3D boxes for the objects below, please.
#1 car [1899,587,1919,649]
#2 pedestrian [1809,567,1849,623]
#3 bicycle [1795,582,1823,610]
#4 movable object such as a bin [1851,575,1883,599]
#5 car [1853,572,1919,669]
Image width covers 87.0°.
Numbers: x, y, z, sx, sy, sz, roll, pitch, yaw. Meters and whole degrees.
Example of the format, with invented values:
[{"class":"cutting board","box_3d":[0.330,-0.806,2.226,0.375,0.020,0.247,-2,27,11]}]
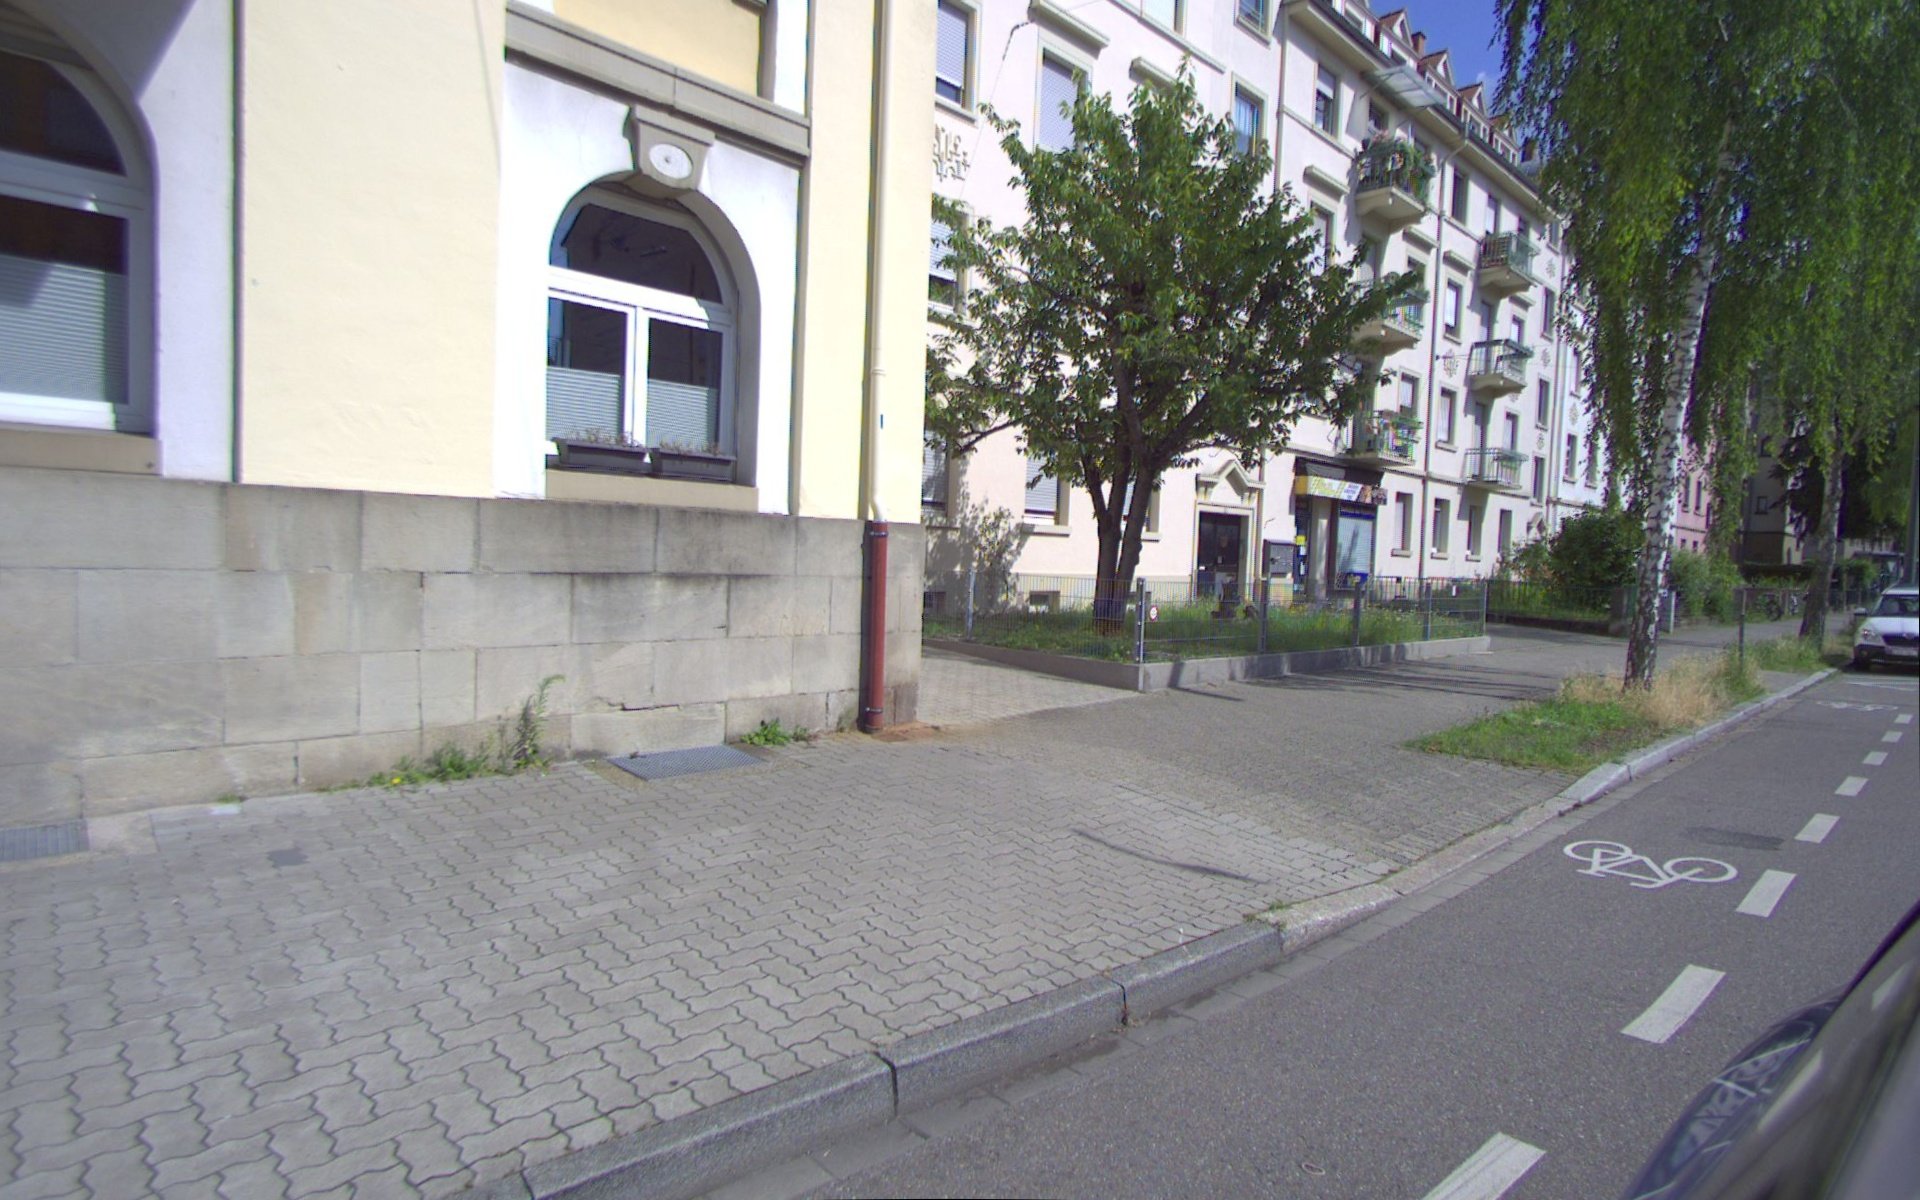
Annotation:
[{"class":"car","box_3d":[24.133,0.413,24.631,3.733,1.434,1.674,-1,1,-44]},{"class":"pedestrian","box_3d":[27.810,-0.164,32.398,0.678,1.703,0.732,0,5,-40]},{"class":"bicycle","box_3d":[33.507,-0.162,39.934,2.145,1.090,0.472,0,4,-42]},{"class":"movable object such as a bin","box_3d":[60.347,-0.862,67.348,1.966,1.510,1.304,0,4,-42]},{"class":"car","box_3d":[17.849,0.335,18.512,3.930,1.650,1.724,-1,1,-41]}]
